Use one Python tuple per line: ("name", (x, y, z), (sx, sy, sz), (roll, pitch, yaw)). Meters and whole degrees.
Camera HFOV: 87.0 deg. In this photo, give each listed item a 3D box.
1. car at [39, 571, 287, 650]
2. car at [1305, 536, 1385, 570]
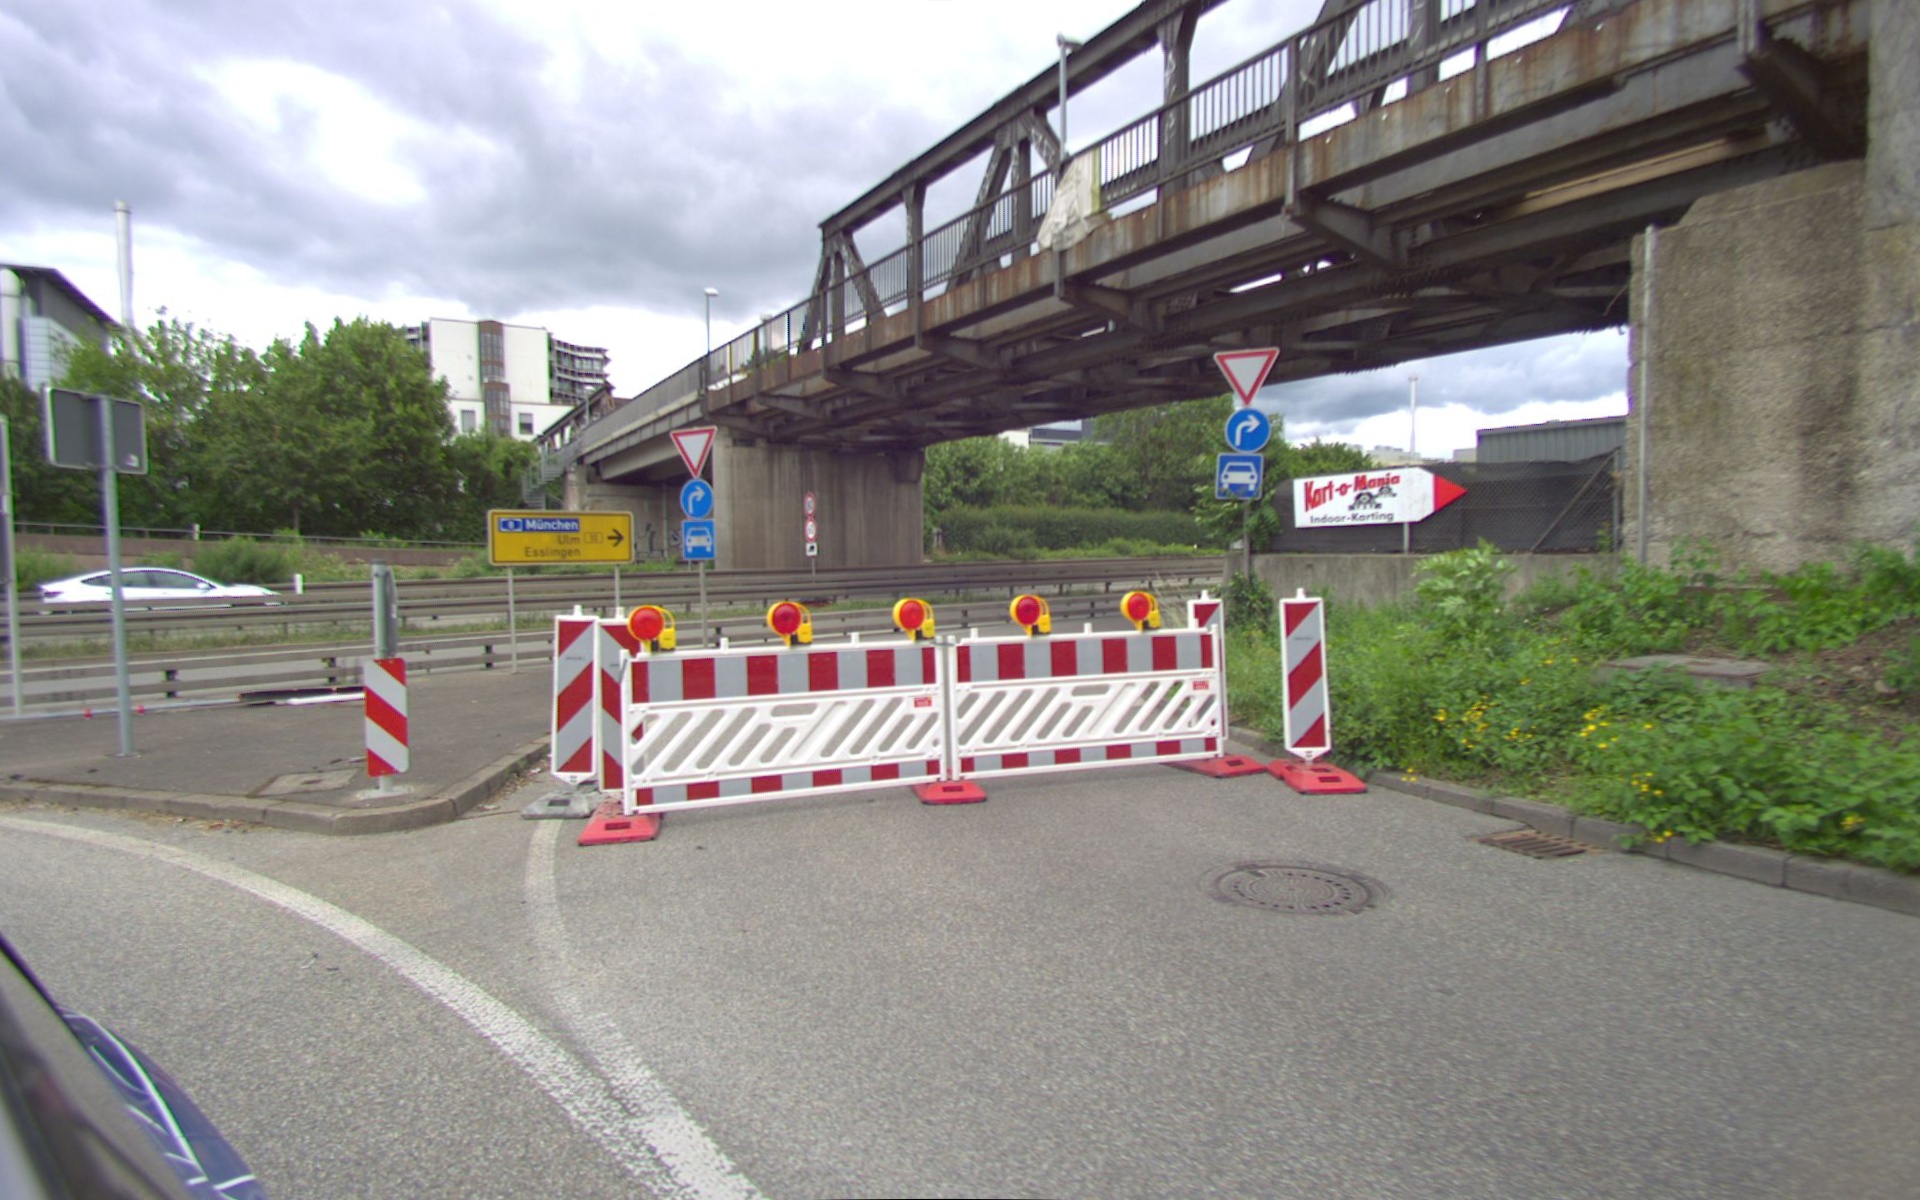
("car", (-18.492, 0.167, 23.716), (4.388, 1.553, 2.005), (-2, 5, -38))
("car", (19.864, -2.469, 52.118), (4.222, 1.652, 1.864), (-3, 5, -38))
